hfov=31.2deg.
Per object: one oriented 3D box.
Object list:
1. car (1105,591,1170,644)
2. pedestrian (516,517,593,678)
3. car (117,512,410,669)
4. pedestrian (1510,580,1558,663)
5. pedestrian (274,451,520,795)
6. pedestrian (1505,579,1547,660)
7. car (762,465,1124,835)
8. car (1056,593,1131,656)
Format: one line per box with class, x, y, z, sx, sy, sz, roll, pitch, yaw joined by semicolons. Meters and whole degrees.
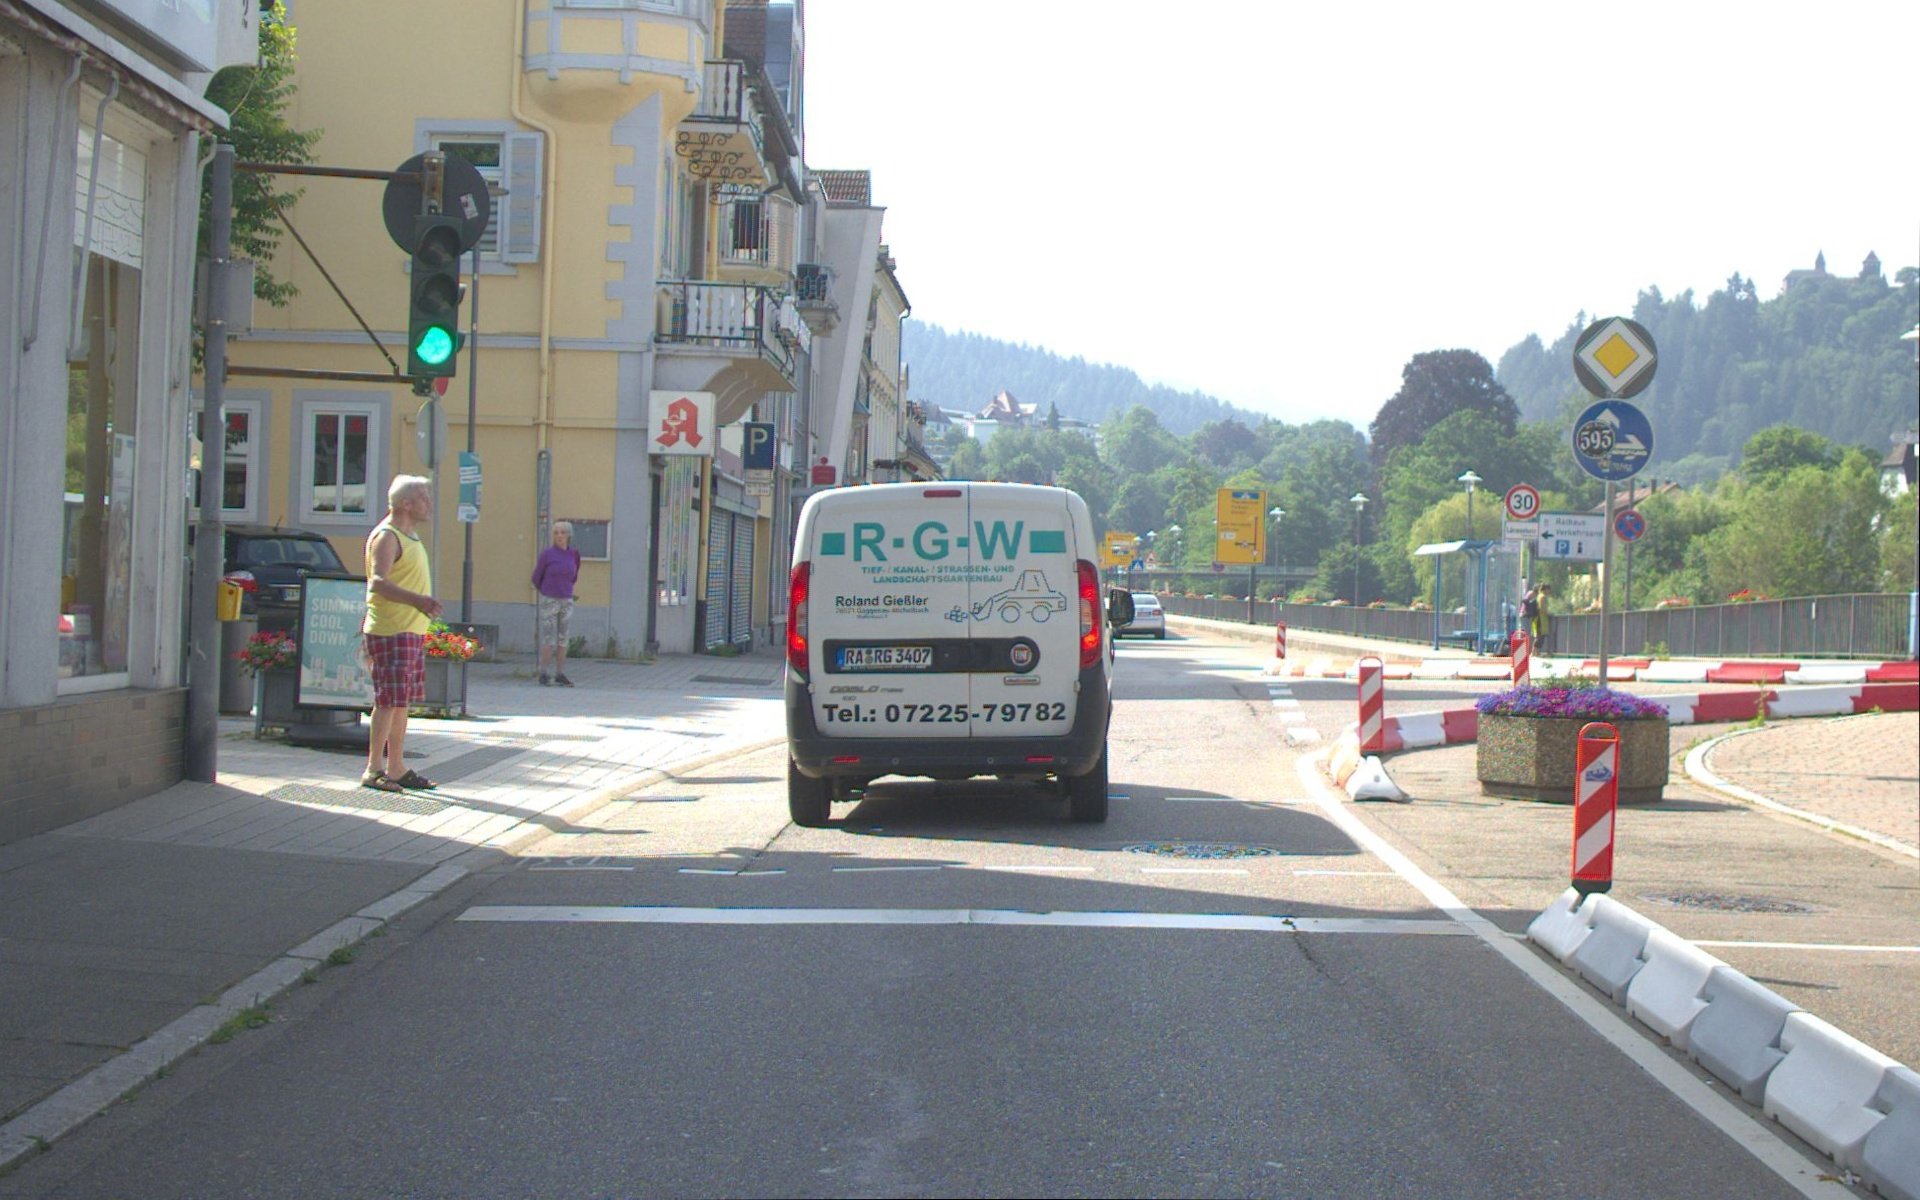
car;5.903;0.564;114.571;1.993;1.656;4.000;2;0;1
pedestrian;-4.391;-0.029;37.290;0.678;1.709;0.617;2;1;3
car;-7.994;-0.134;39.227;1.917;1.537;3.959;2;2;-33
pedestrian;12.066;0.450;72.333;0.867;1.700;0.777;2;0;3
pedestrian;-3.189;0.128;19.568;1.018;1.809;0.907;6;0;3
pedestrian;12.017;0.417;72.987;0.789;1.700;0.491;2;0;3
car;0.013;0.229;20.164;1.844;1.899;4.314;-1;1;3
car;3.772;0.678;97.884;1.993;1.656;4.000;2;0;1
